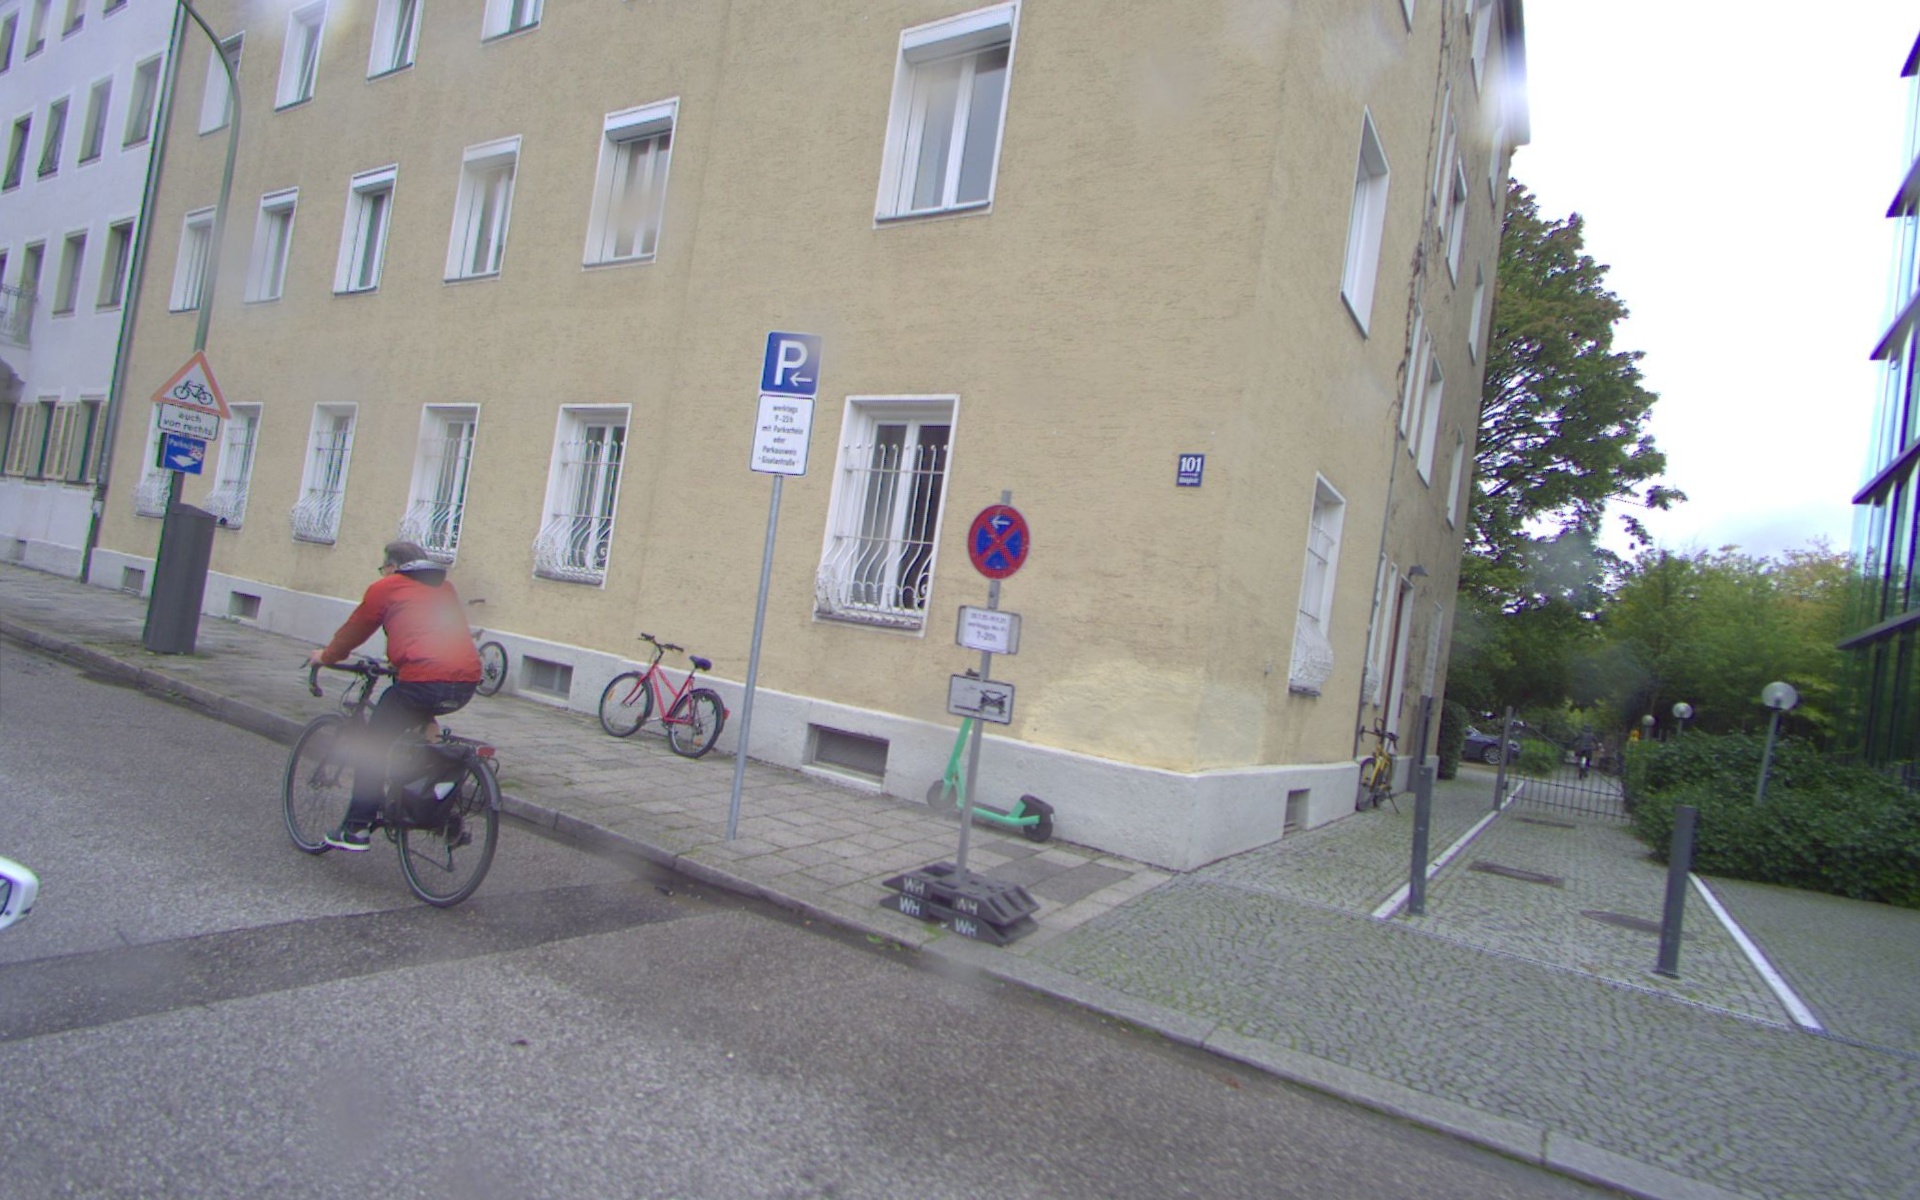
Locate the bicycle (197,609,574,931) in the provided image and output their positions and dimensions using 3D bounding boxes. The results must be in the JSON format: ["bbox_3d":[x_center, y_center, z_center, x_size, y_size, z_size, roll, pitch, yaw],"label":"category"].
[{"bbox_3d":[-2.912,0.757,5.016,1.979,1.153,0.674,7,-4,34],"label":"bicycle"}]

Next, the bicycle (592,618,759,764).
[{"bbox_3d":[-2.801,0.859,9.818,1.730,1.148,0.343,7,-1,31],"label":"bicycle"}]

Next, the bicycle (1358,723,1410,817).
[{"bbox_3d":[5.624,2.216,13.305,0.372,1.105,1.702,7,-3,28],"label":"bicycle"}]

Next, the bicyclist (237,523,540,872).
[{"bbox_3d":[-2.833,0.457,5.007,0.965,1.498,0.756,7,-3,34],"label":"bicyclist"}]

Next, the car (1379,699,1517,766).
[{"bbox_3d":[16.635,4.475,34.333,3.934,1.561,1.827,7,-2,32],"label":"car"}]

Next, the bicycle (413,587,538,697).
[{"bbox_3d":[-5.842,0.485,12.085,1.783,1.095,0.342,7,1,31],"label":"bicycle"}]

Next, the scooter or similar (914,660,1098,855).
[{"bbox_3d":[0.342,1.187,7.851,1.287,1.271,0.342,7,0,31],"label":"scooter or similar"}]
